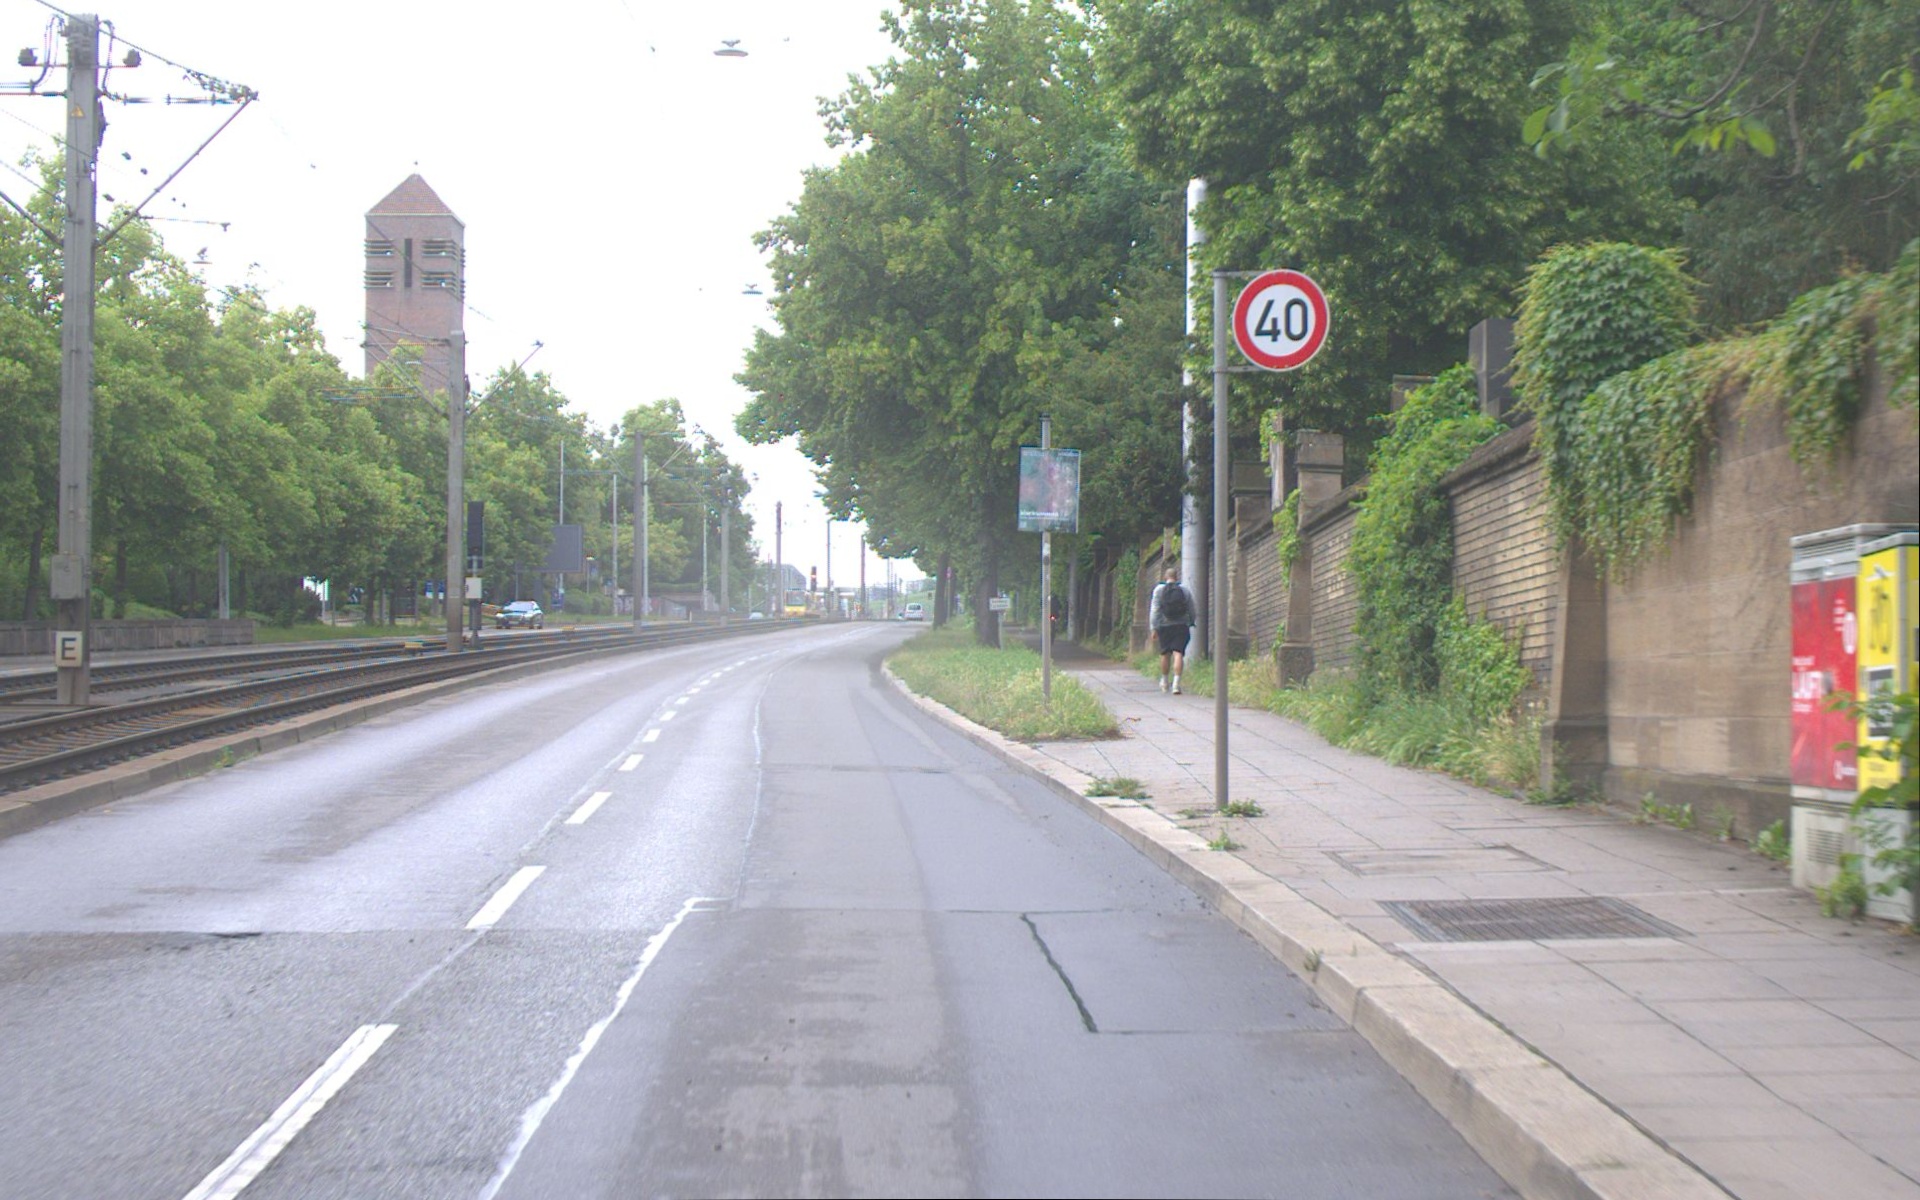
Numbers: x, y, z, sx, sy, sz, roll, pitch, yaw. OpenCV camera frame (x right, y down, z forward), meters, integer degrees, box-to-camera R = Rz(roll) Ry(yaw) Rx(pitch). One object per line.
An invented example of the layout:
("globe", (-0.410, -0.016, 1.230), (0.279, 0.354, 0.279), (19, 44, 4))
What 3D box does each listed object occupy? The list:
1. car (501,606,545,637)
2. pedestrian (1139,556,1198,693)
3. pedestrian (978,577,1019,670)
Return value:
("car", (-22.544, 1.097, 177.519), (1.794, 1.505, 3.849), (0, 0, -1))
("pedestrian", (2.847, 0.336, 46.981), (0.719, 1.844, 0.783), (1, 0, 0))
("pedestrian", (0.704, 0.432, 63.372), (0.719, 1.681, 0.729), (1, 0, 0))
